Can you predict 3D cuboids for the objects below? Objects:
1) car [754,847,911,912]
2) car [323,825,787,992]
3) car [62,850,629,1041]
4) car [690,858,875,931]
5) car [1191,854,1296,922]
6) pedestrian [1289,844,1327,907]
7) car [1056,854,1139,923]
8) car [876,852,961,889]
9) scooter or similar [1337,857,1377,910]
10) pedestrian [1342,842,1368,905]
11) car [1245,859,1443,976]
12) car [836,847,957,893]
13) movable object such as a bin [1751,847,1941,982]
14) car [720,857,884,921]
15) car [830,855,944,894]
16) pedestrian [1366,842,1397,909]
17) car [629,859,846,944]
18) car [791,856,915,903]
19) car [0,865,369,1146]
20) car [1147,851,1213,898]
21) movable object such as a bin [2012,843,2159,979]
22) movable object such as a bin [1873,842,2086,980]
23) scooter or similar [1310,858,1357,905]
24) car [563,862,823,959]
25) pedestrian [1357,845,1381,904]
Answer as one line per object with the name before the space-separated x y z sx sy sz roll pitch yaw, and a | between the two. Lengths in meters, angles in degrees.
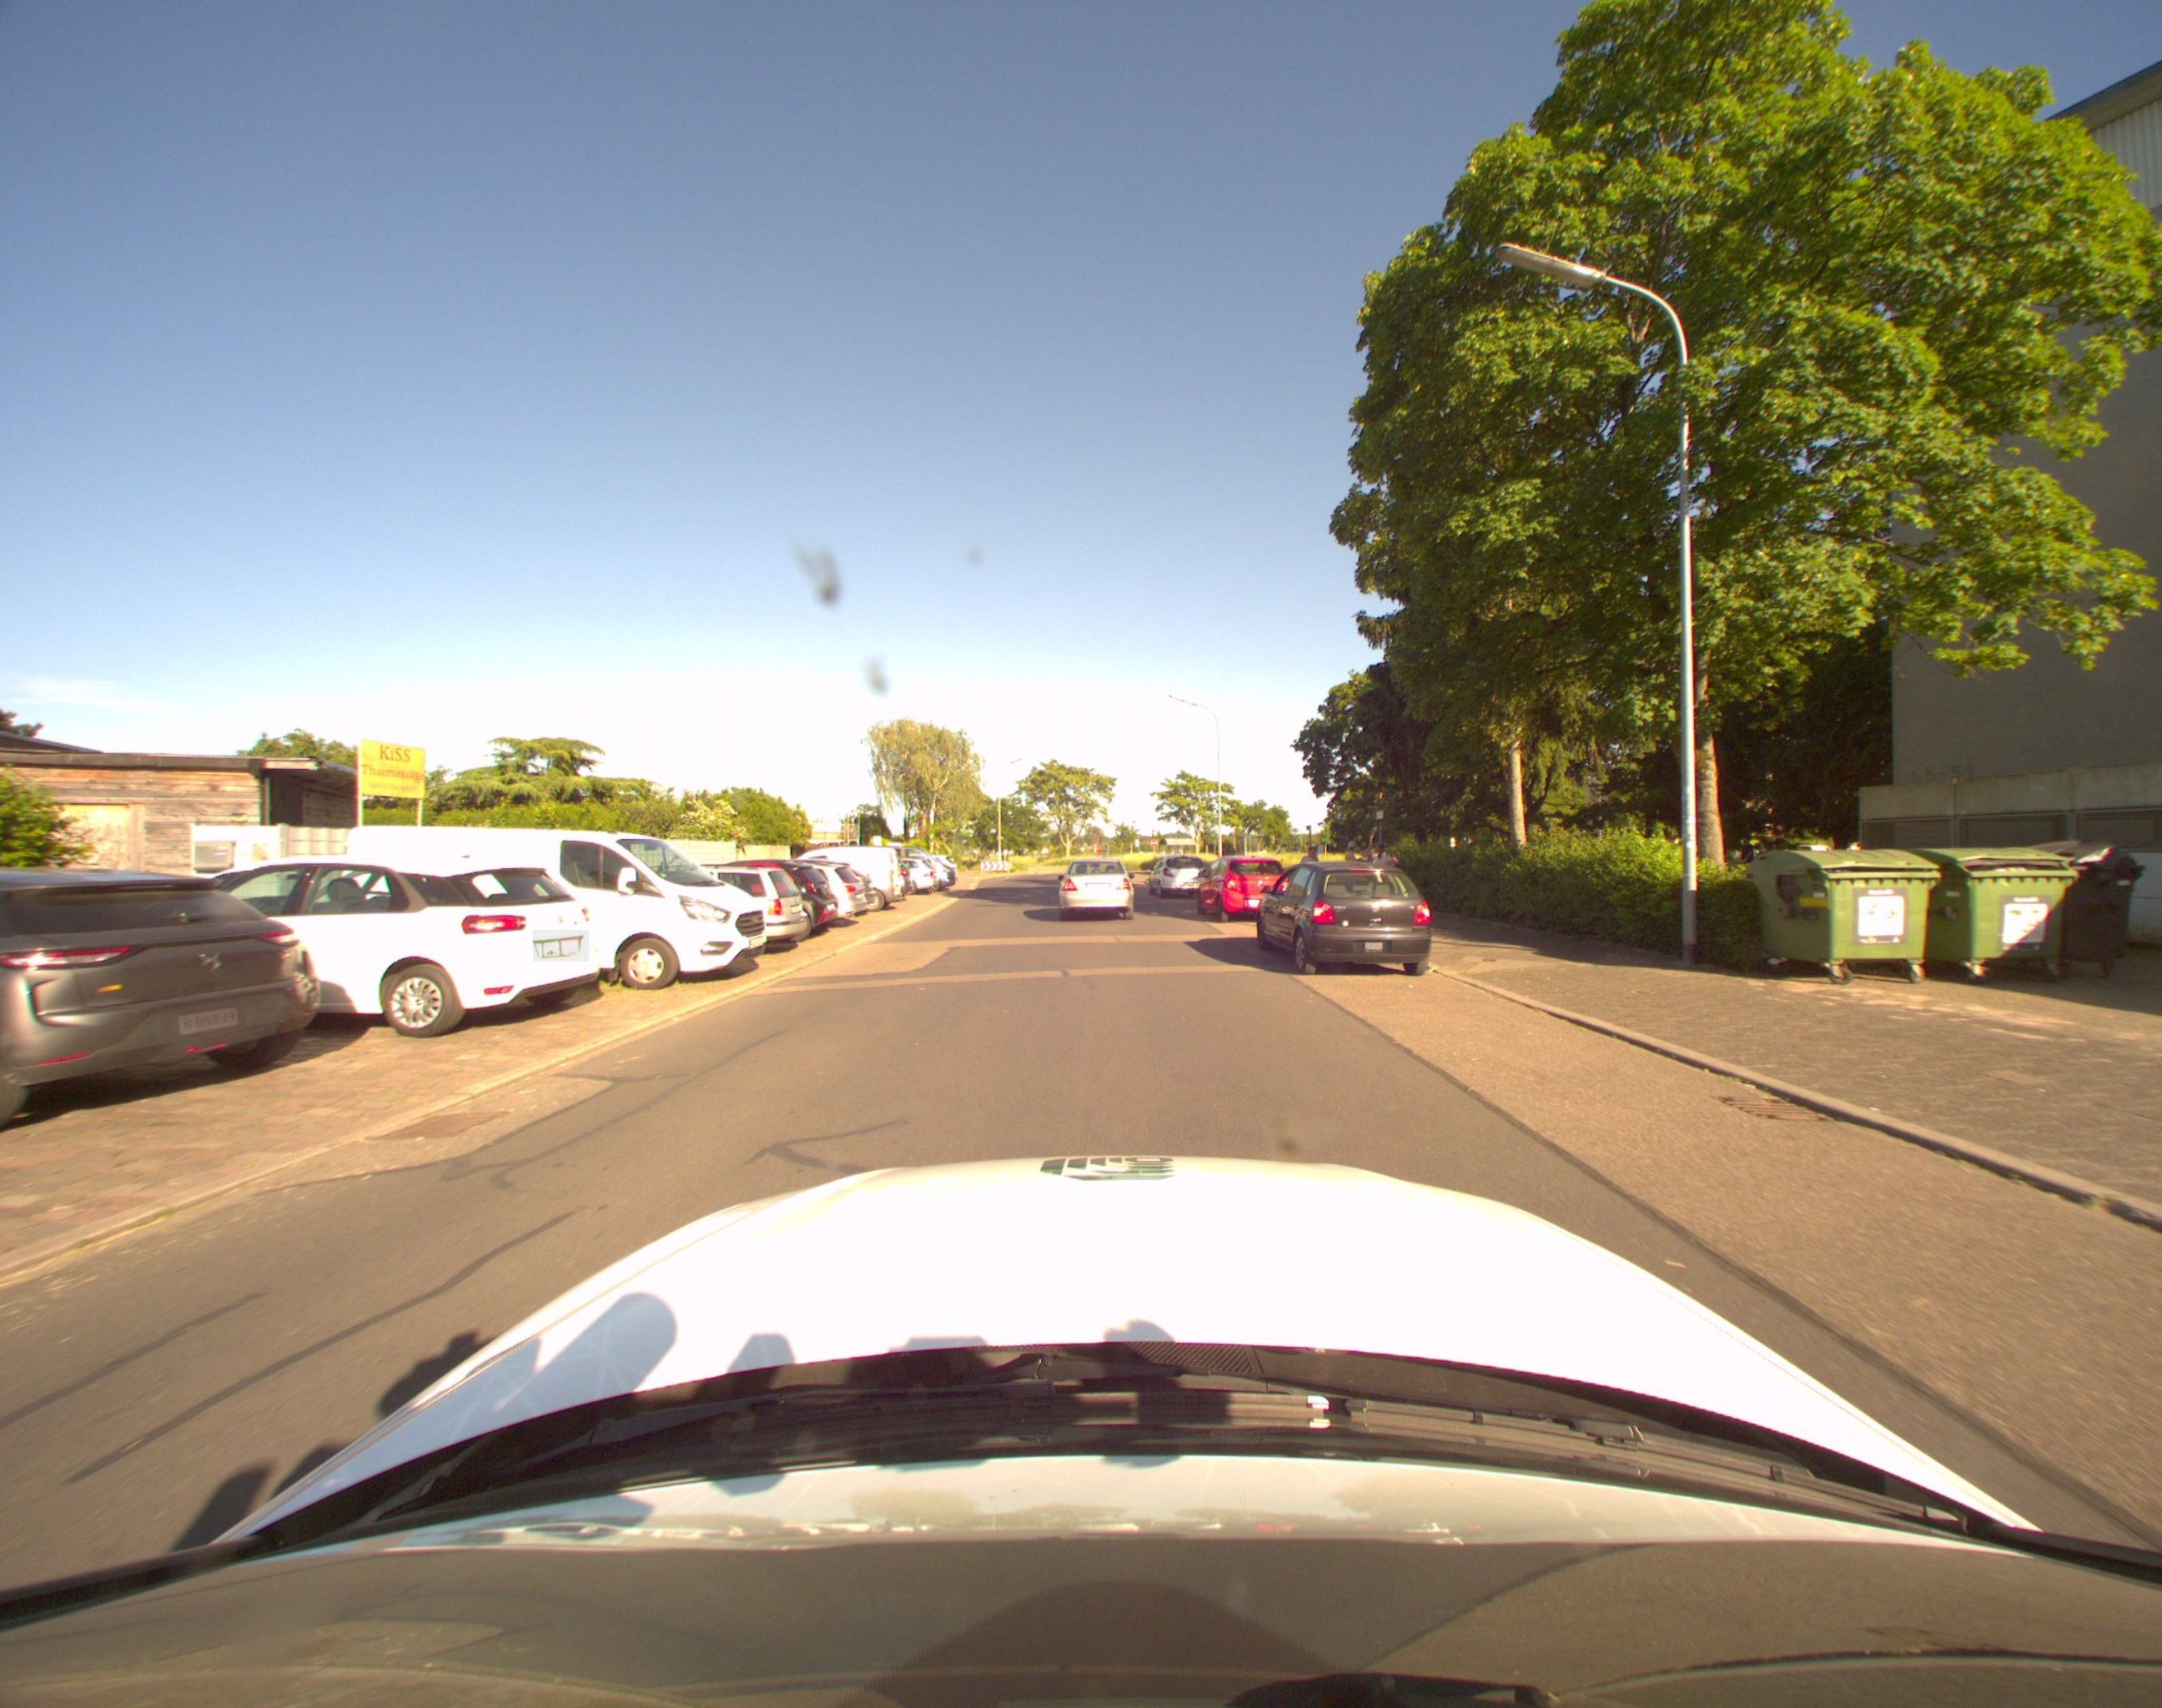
car | -7.049 0.709 23.493 3.970 1.780 1.923 0 0 -5
car | -6.744 0.669 10.927 4.774 1.921 2.081 1 -1 -1
car | -7.066 0.814 8.161 3.971 1.583 1.885 1 -1 2
car | -6.644 0.884 18.382 3.501 1.489 1.637 1 -1 1
car | 3.725 0.742 19.218 1.572 1.446 3.784 0 -1 -3
pedestrian | 5.777 0.555 20.758 0.785 1.565 0.569 1 -1 -1
car | 0.400 0.752 19.924 1.810 1.463 4.361 0 0 1
car | -7.531 0.772 38.051 3.602 1.607 1.732 1 -1 -2
scooter or similar | 6.660 0.707 19.662 0.621 1.227 0.904 -2 -1 -1
pedestrian | 6.987 0.490 20.799 0.478 1.565 0.598 -2 -1 9
car | 3.590 0.789 11.830 1.642 1.403 3.881 0 -1 0
car | -7.909 0.666 35.312 4.865 1.915 1.996 0 -1 -6
movable object such as a bin | 8.397 0.639 8.998 1.233 1.403 0.914 0 -1 0
car | -7.050 0.862 20.827 3.501 1.489 1.728 1 -1 1
car | -7.719 0.813 32.798 4.127 1.492 1.923 1 -1 -3
pedestrian | 7.251 0.514 19.655 0.484 1.565 0.468 -2 -1 -5
car | -6.565 0.893 15.842 3.506 1.489 1.635 1 1 -3
car | -7.714 0.850 27.821 3.810 1.532 1.785 0 -1 -7
car | -7.564 0.850 5.553 3.752 1.487 1.885 1 -1 2
car | 3.470 0.702 29.158 1.727 1.543 3.784 0 -1 -3
movable object such as a bin | 10.892 0.597 8.853 0.721 1.416 0.688 0 -1 0
movable object such as a bin | 9.790 0.597 8.929 1.270 1.416 0.951 0 -1 0
scooter or similar | 6.922 0.742 22.330 0.401 1.227 1.241 -1 -1 -31
car | -6.369 0.898 13.639 3.501 1.446 1.637 1 -1 1
pedestrian | 7.514 0.534 21.225 0.361 1.503 0.500 -2 -1 -4
